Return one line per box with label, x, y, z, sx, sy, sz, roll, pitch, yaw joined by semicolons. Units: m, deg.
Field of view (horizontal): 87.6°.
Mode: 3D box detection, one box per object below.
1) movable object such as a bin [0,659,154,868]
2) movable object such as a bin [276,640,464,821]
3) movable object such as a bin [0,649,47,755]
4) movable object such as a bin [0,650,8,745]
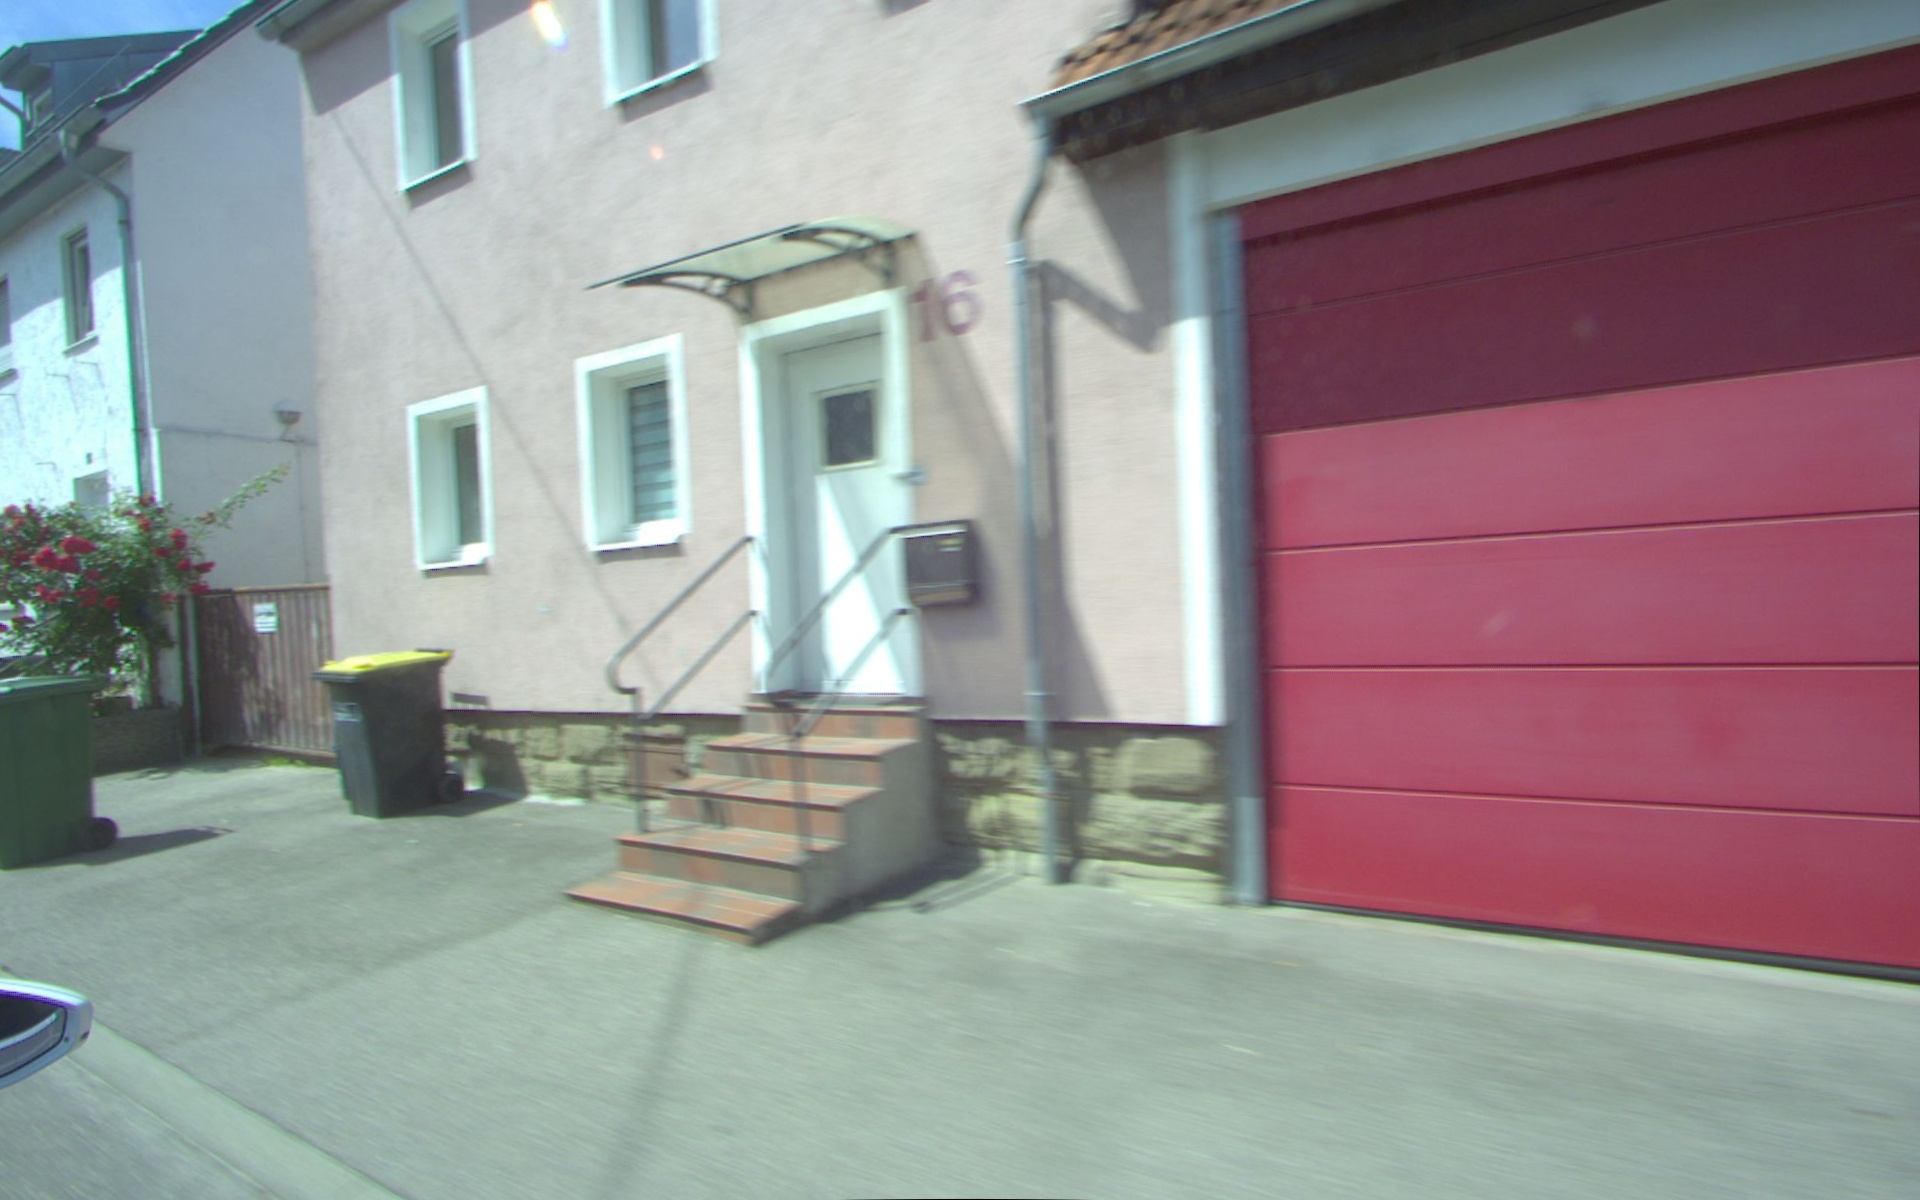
movable object such as a bin;-5.735;0.969;6.140;0.859;1.090;0.874;-1;5;28
movable object such as a bin;-3.954;0.838;6.733;0.822;1.065;0.677;-1;5;28
movable object such as a bin;-9.977;1.055;10.398;0.523;1.054;0.591;-1;1;32
movable object such as a bin;-10.545;1.047;10.647;0.435;1.007;0.502;-1;1;32
